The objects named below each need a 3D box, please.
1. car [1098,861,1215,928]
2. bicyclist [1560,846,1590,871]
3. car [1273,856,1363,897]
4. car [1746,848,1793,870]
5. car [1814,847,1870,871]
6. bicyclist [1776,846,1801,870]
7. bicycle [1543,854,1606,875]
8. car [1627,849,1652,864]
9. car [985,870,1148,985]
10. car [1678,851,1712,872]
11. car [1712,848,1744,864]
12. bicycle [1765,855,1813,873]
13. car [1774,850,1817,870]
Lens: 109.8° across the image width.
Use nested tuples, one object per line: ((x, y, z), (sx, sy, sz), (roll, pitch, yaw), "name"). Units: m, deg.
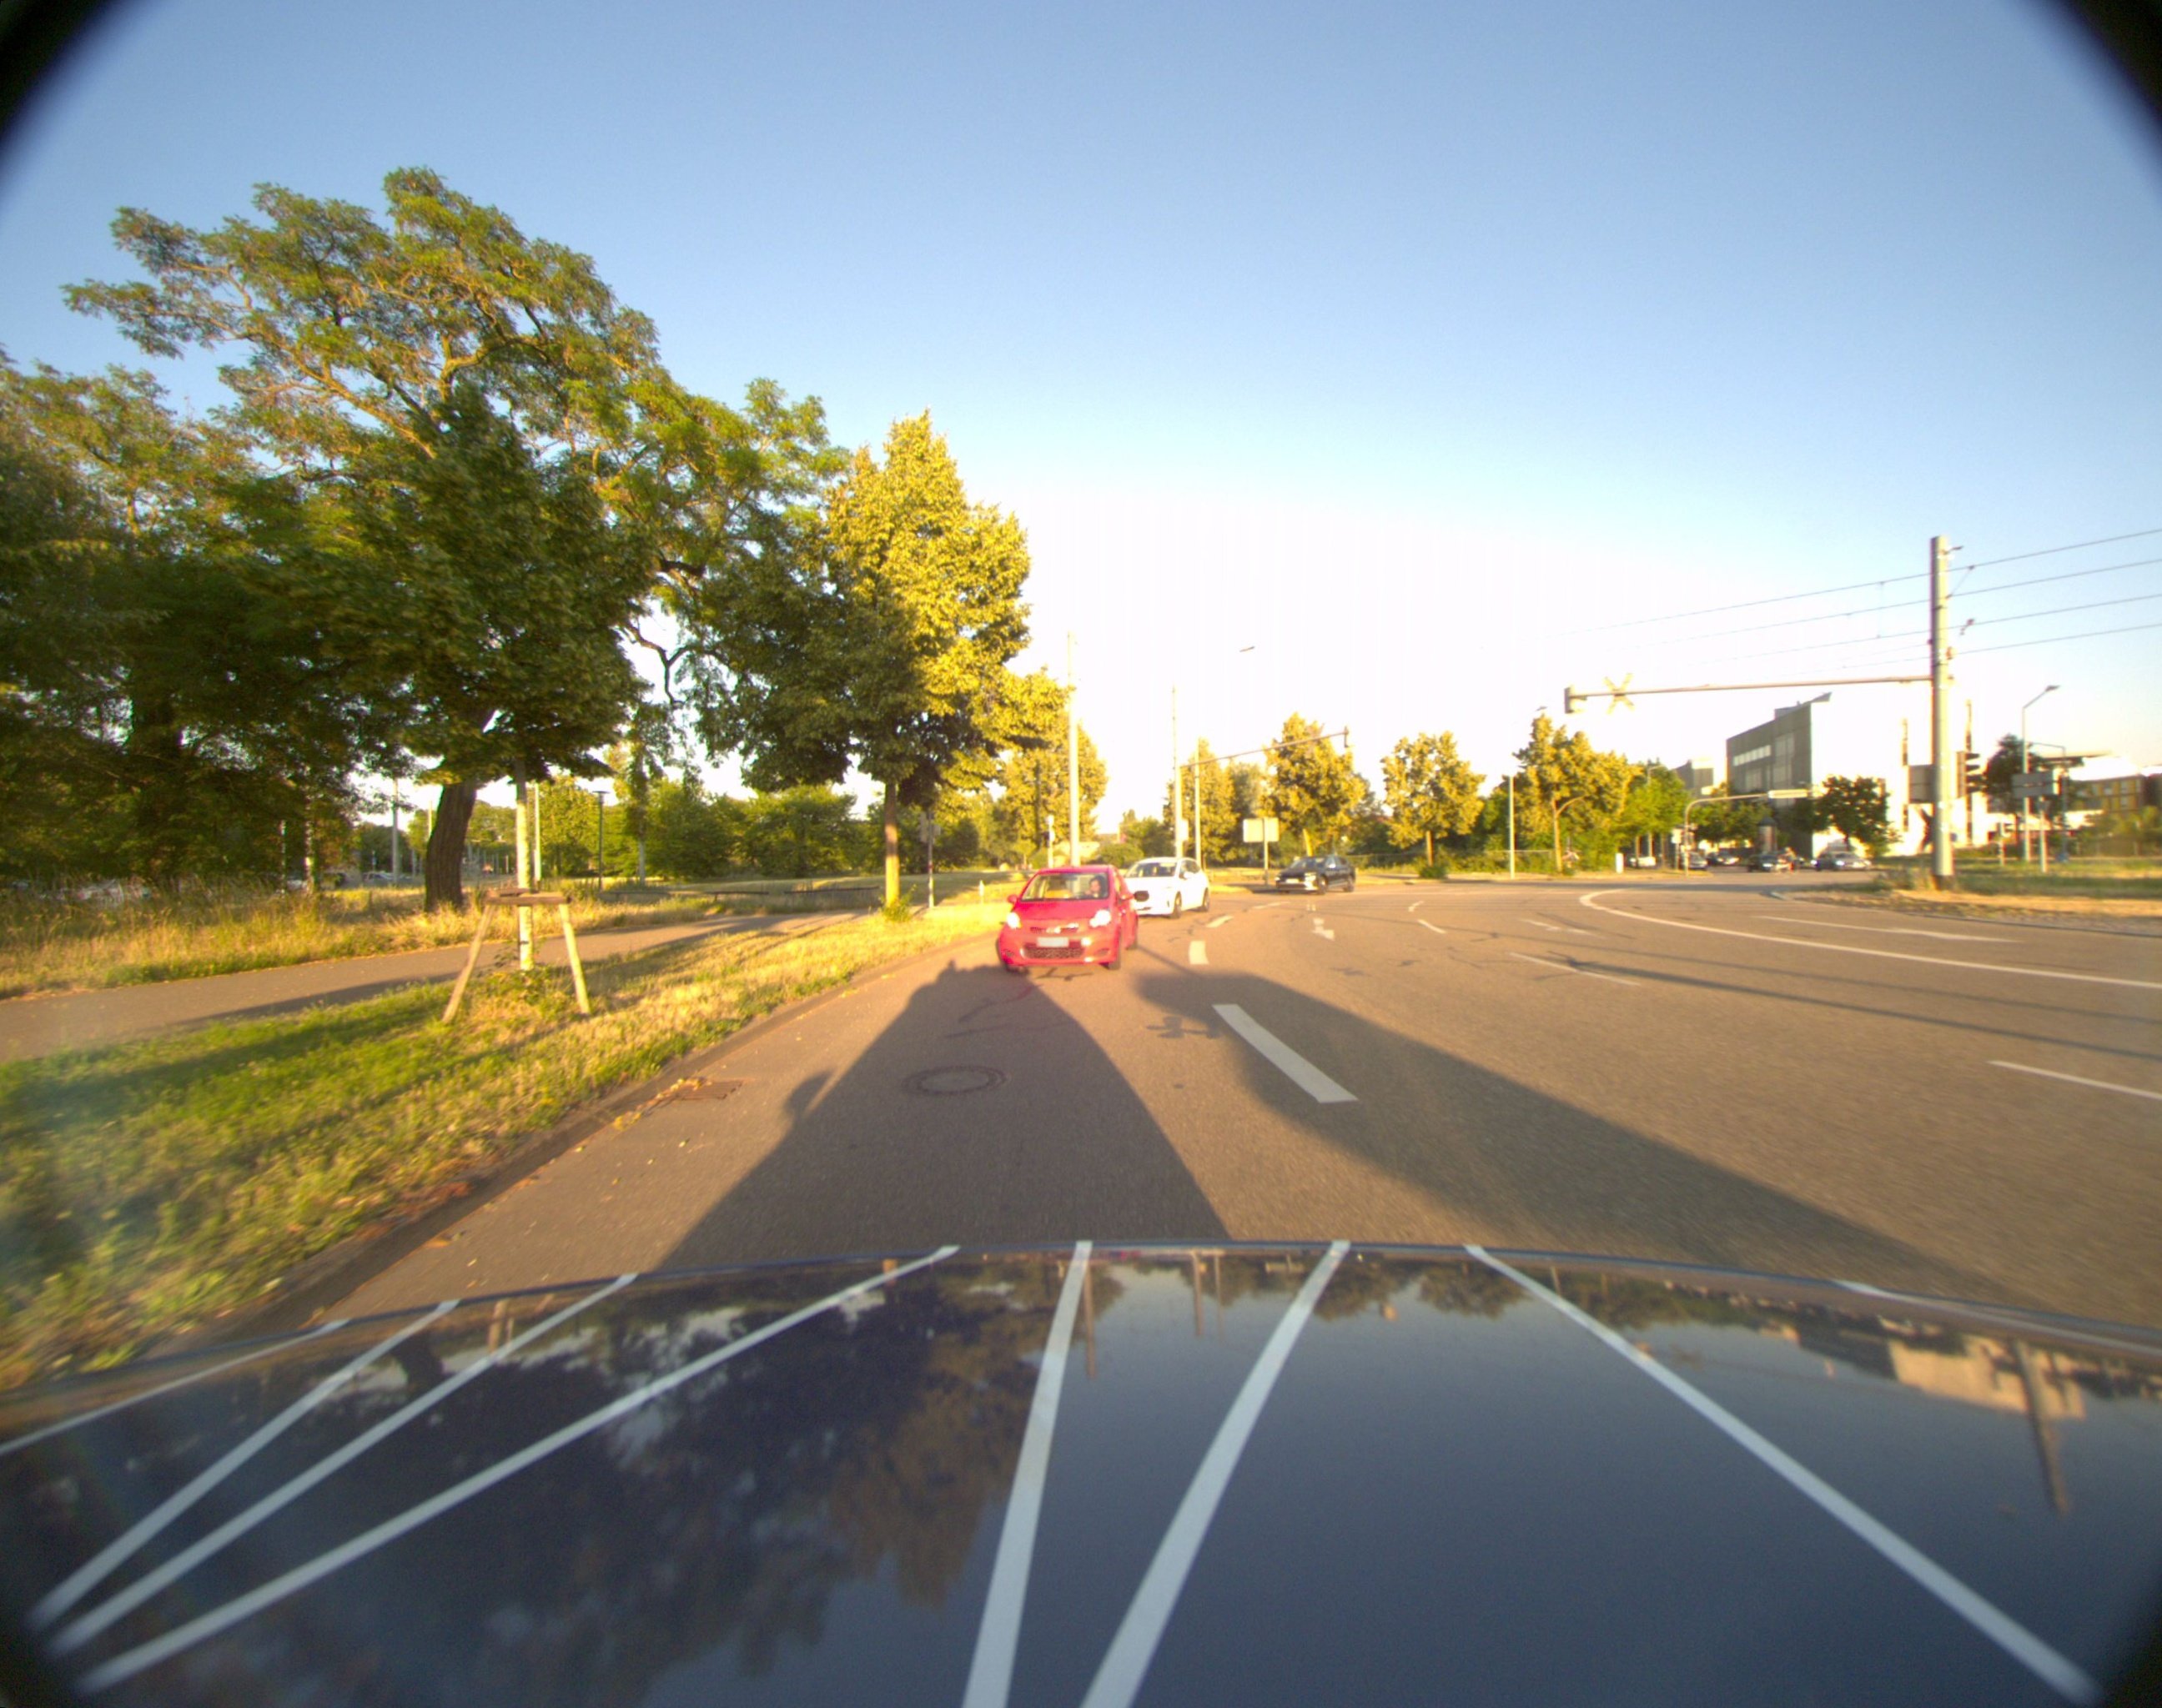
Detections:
((2.142, 0.996, 20.286), (1.756, 1.549, 4.222), (-1, -1, 26), "car")
((34.389, 0.300, 52.903), (1.415, 1.739, 1.124), (-1, 0, 7), "bicyclist")
((9.900, 0.883, 31.554), (1.823, 1.549, 4.224), (-1, -1, 44), "car")
((54.517, 0.362, 60.225), (1.868, 1.615, 4.200), (-1, 0, 30), "car")
((55.587, 0.341, 55.574), (1.868, 1.615, 4.201), (-1, 0, 31), "car")
((48.511, 0.263, 52.116), (0.999, 1.623, 0.811), (-1, 0, 12), "bicyclist")
((34.366, 0.717, 52.938), (3.534, 1.387, 1.124), (-1, 0, 7), "bicycle")
((66.306, 0.294, 90.222), (1.868, 1.615, 4.201), (-1, 0, 30), "car")
((-0.018, 0.987, 11.750), (1.692, 1.413, 4.215), (-2, -1, 10), "car")
((55.434, 0.655, 68.675), (1.868, 1.739, 3.859), (-1, 0, 31), "car")
((68.026, 0.175, 79.951), (1.868, 1.615, 4.201), (-1, 0, 30), "car")
((48.552, 0.672, 52.124), (2.325, 1.172, 0.811), (-1, 0, 12), "bicycle")
((62.253, 0.524, 66.275), (1.868, 1.615, 4.201), (-1, 0, 31), "car")
